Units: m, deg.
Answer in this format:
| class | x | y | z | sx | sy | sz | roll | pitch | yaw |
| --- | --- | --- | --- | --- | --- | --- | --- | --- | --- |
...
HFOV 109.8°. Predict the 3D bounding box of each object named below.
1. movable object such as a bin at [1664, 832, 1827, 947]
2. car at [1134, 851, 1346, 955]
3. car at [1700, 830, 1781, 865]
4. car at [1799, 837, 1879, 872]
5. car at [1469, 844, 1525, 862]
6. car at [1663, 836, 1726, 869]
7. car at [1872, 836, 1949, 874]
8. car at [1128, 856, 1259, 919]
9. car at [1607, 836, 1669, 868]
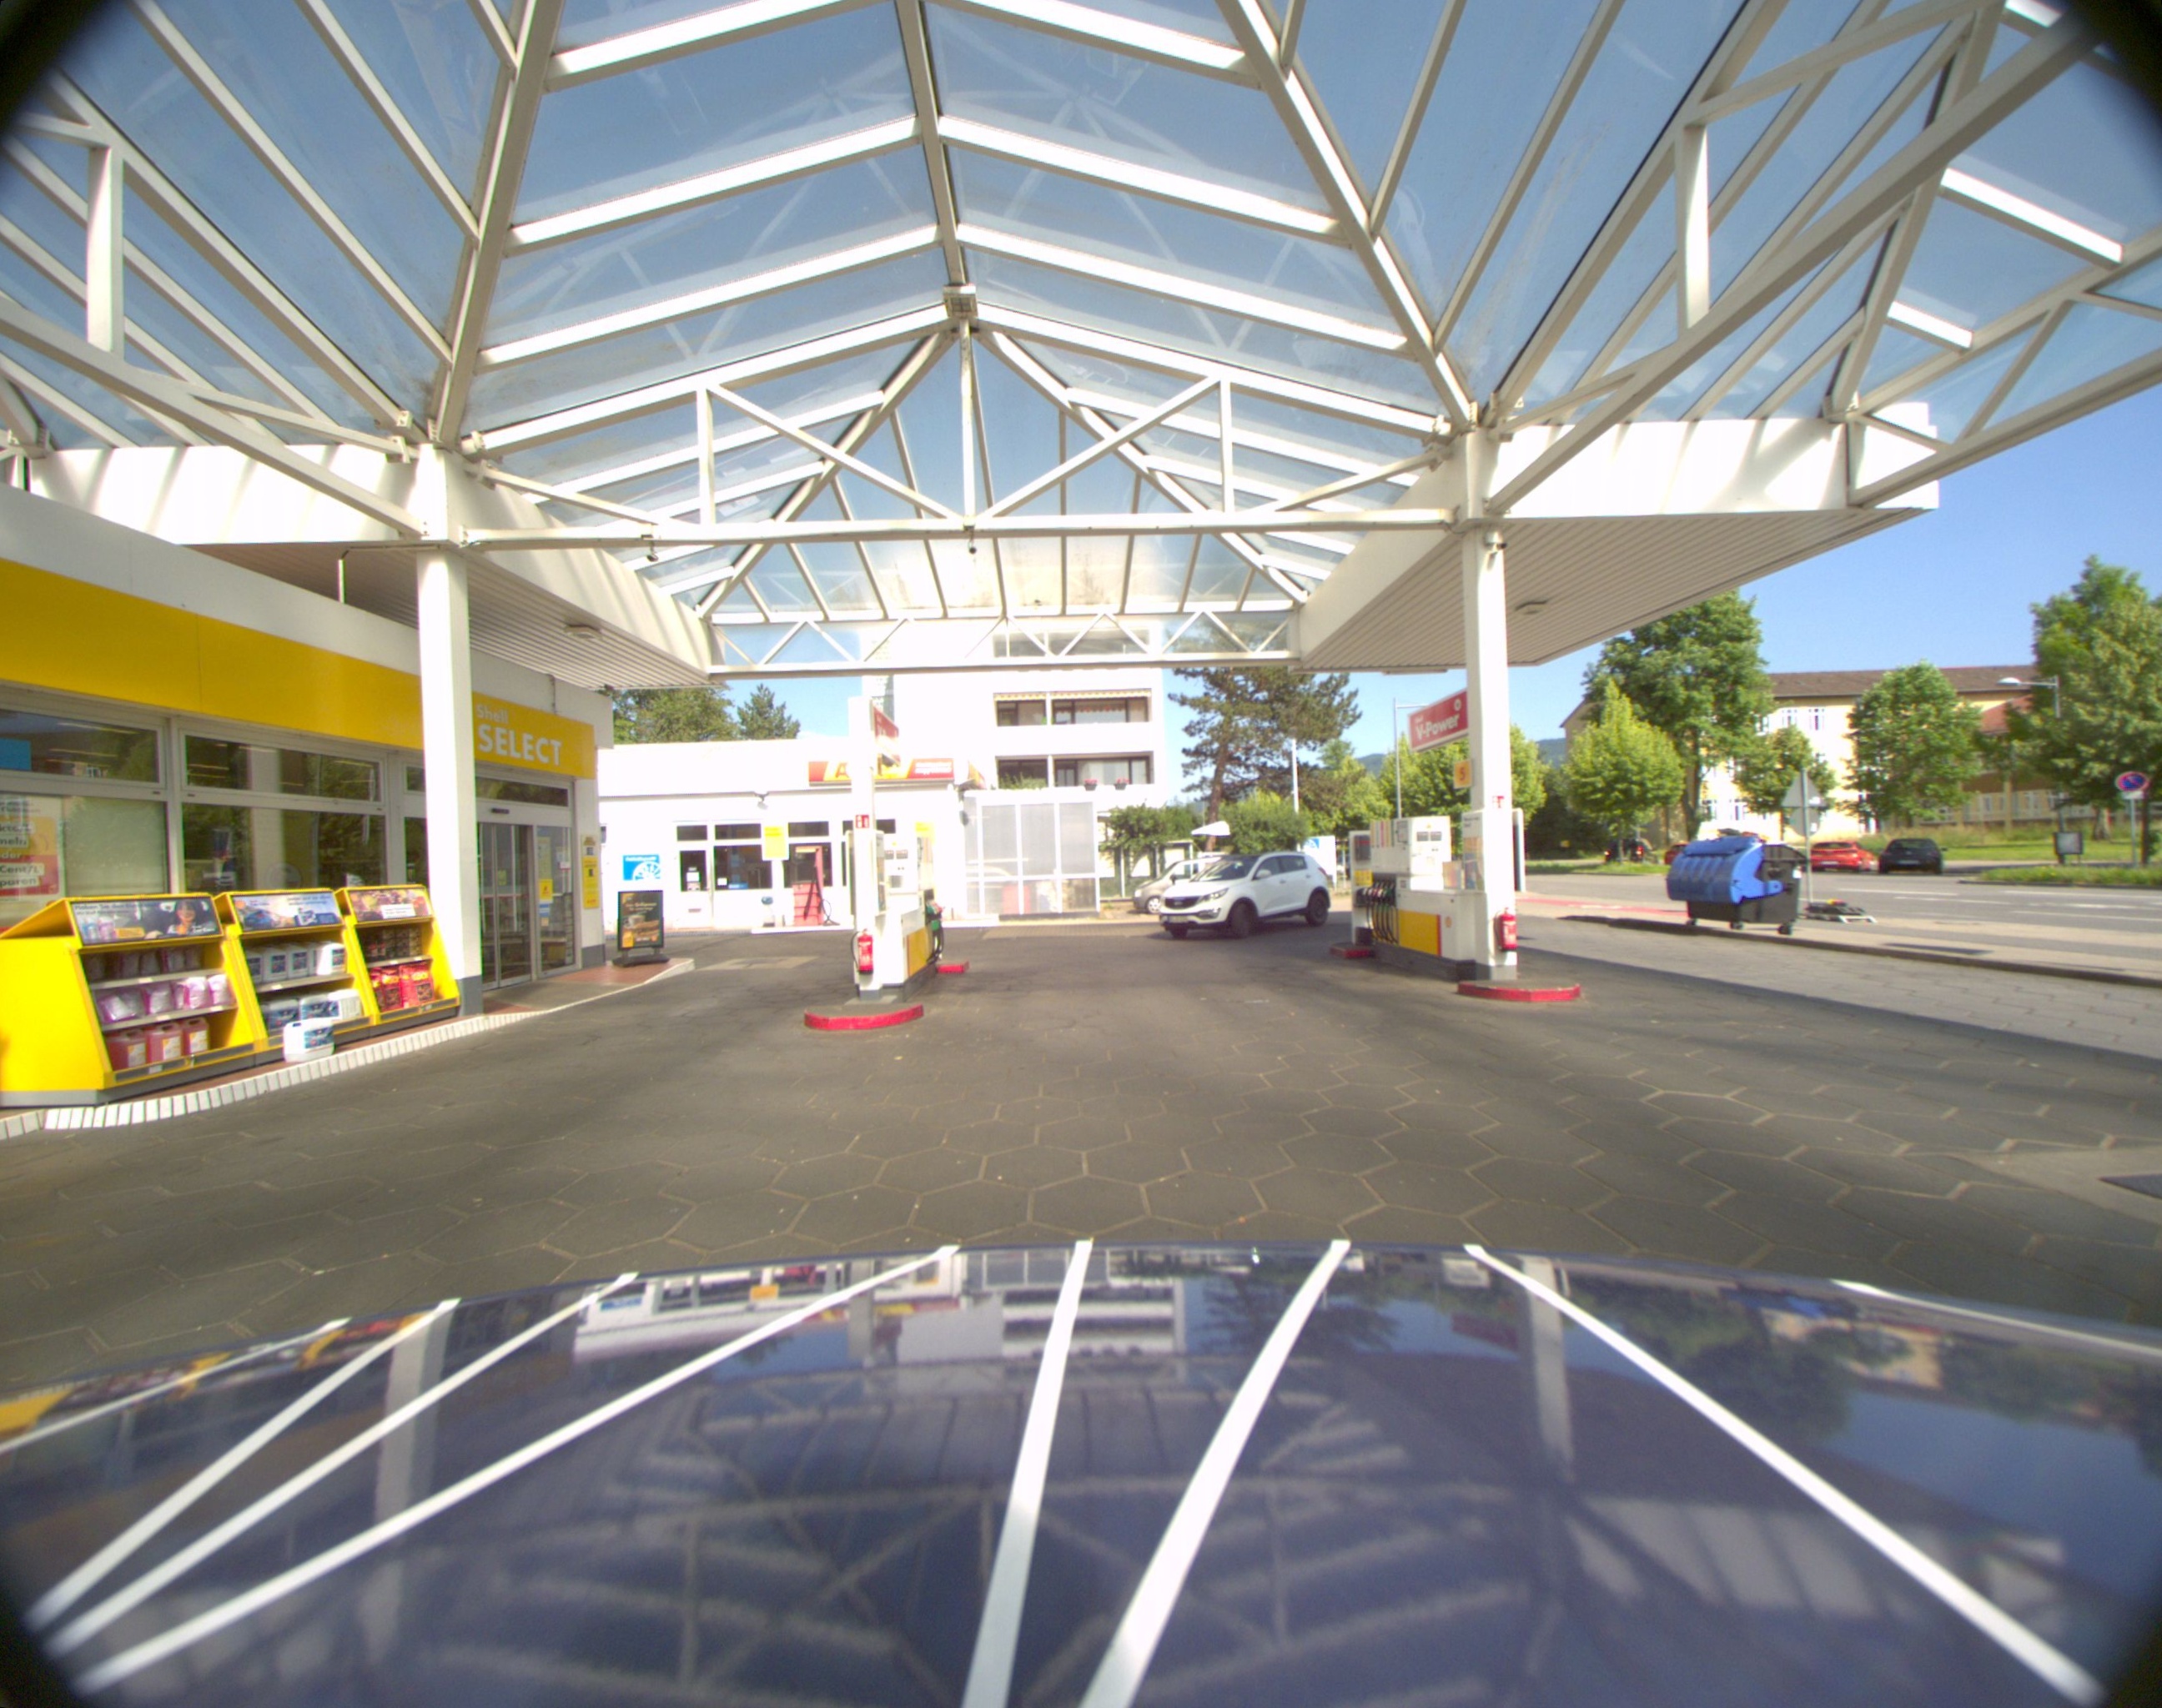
| class | x | y | z | sx | sy | sz | roll | pitch | yaw |
| --- | --- | --- | --- | --- | --- | --- | --- | --- | --- |
| movable object such as a bin | 10.256 | 0.516 | 11.811 | 1.342 | 1.678 | 1.337 | 0 | 1 | 0 |
| car | 3.413 | 0.909 | 15.921 | 4.314 | 1.697 | 1.957 | -4 | 1 | -39 |
| car | 33.845 | -0.360 | 38.981 | 4.232 | 1.712 | 1.877 | -1 | 1 | -30 |
| car | 33.560 | -0.004 | 33.613 | 4.234 | 1.451 | 1.876 | -1 | 1 | -37 |
| car | 33.287 | -0.095 | 60.780 | 3.730 | 1.383 | 1.878 | 0 | 1 | -19 |
| car | 33.481 | -0.104 | 41.420 | 4.234 | 1.712 | 1.876 | 0 | 1 | -40 |
| car | 33.908 | 0.047 | 31.037 | 4.234 | 1.451 | 1.737 | 0 | 0 | -37 |
| car | 3.326 | 0.972 | 22.994 | 3.659 | 1.607 | 1.692 | -3 | 0 | 0 |
| car | 31.576 | -0.116 | 43.055 | 4.234 | 1.712 | 1.876 | 0 | 1 | -40 |
